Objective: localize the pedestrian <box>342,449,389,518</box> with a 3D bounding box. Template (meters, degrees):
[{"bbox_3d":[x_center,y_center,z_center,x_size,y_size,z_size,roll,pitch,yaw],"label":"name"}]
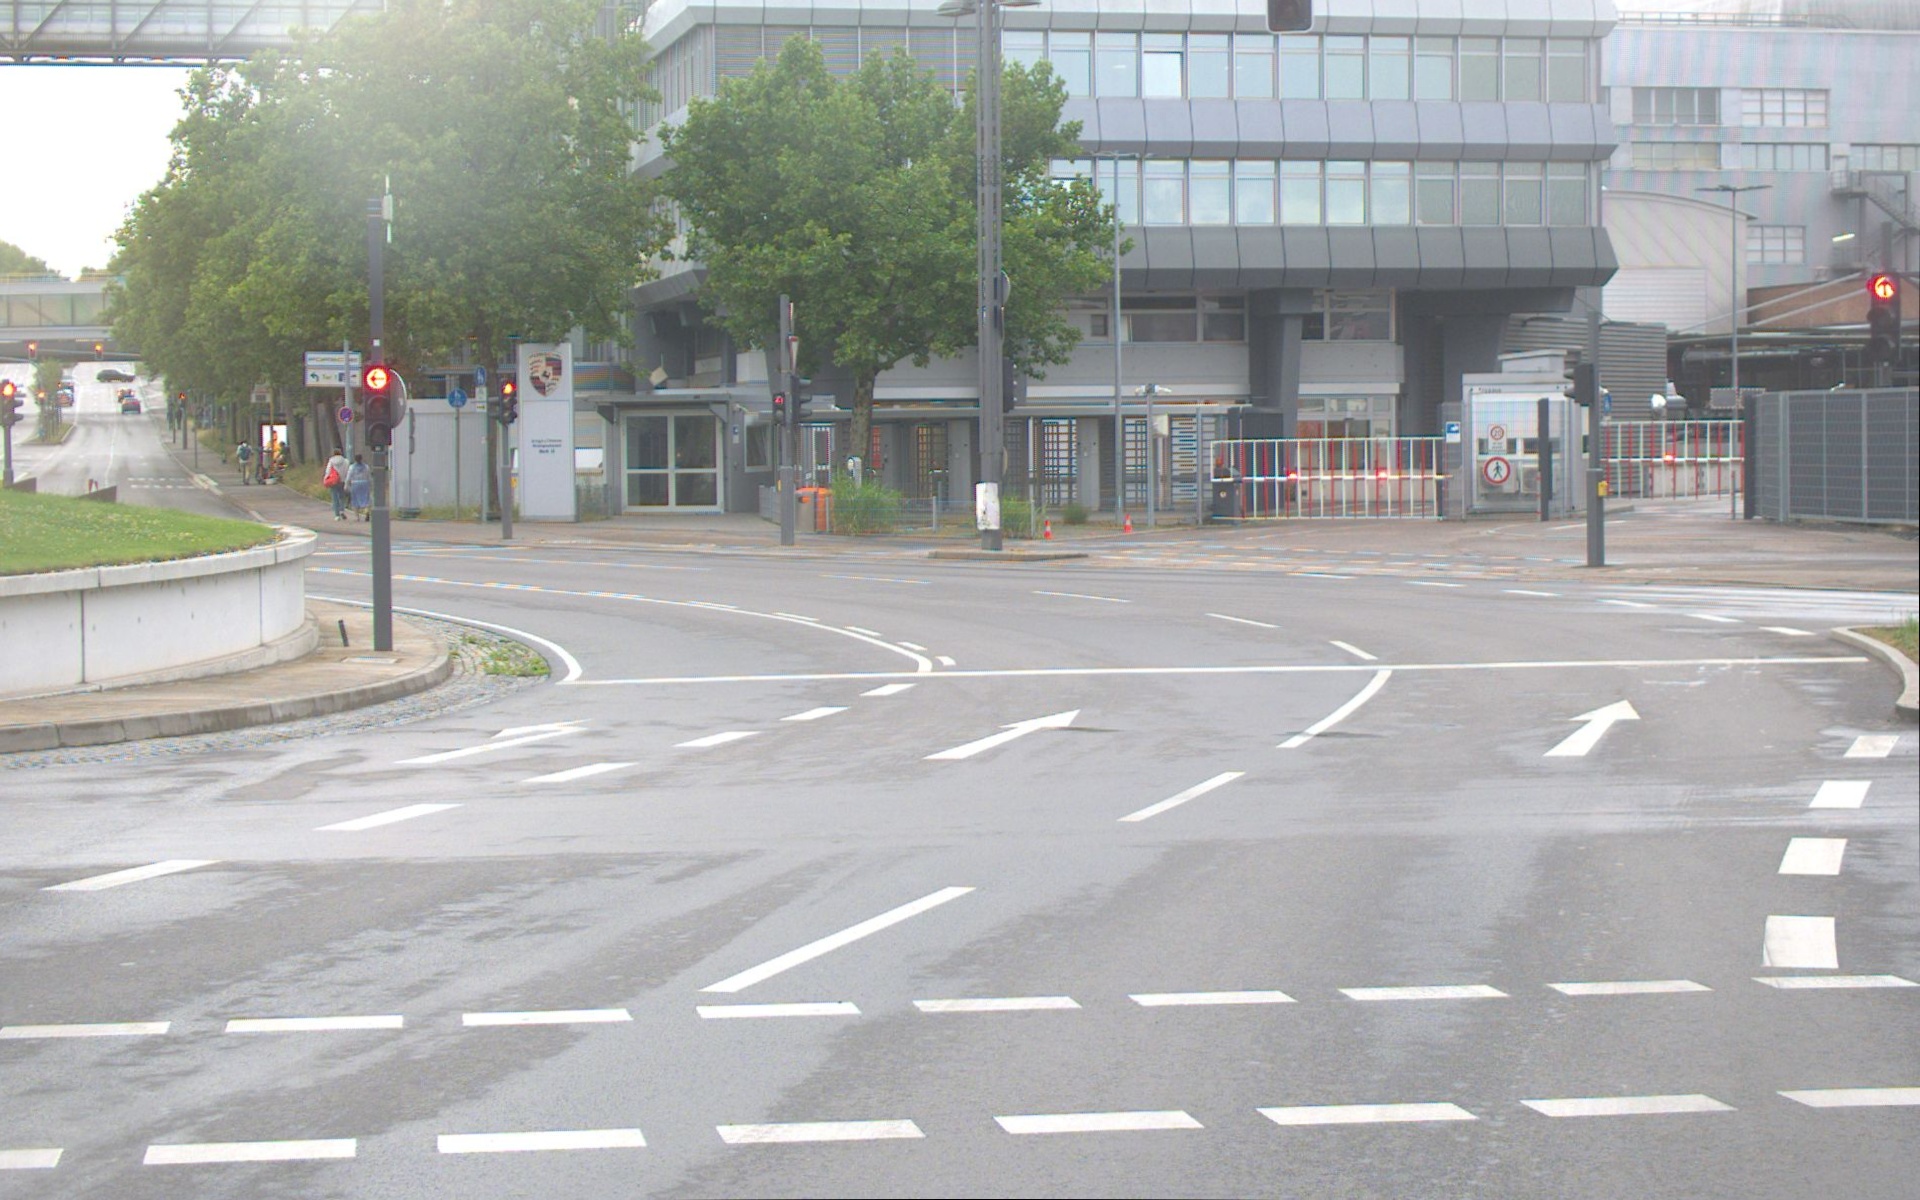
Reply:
[{"bbox_3d":[-13.230,-2.599,76.499,0.831,1.515,0.842,-2,3,-23],"label":"pedestrian"}]

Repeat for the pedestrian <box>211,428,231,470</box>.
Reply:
[{"bbox_3d":[-35.679,-7.283,165.925,0.765,2.006,0.692,0,2,3],"label":"pedestrian"}]

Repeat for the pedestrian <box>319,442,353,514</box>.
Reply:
[{"bbox_3d":[-14.102,-2.762,77.733,0.709,1.586,0.841,-1,3,-9],"label":"pedestrian"}]

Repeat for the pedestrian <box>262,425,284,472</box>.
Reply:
[{"bbox_3d":[-26.025,-5.730,130.228,0.757,1.734,0.714,1,0,-10],"label":"pedestrian"}]

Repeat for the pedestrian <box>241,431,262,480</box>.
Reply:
[{"bbox_3d":[-25.490,-5.199,123.670,0.711,1.734,0.760,1,0,-14],"label":"pedestrian"}]
